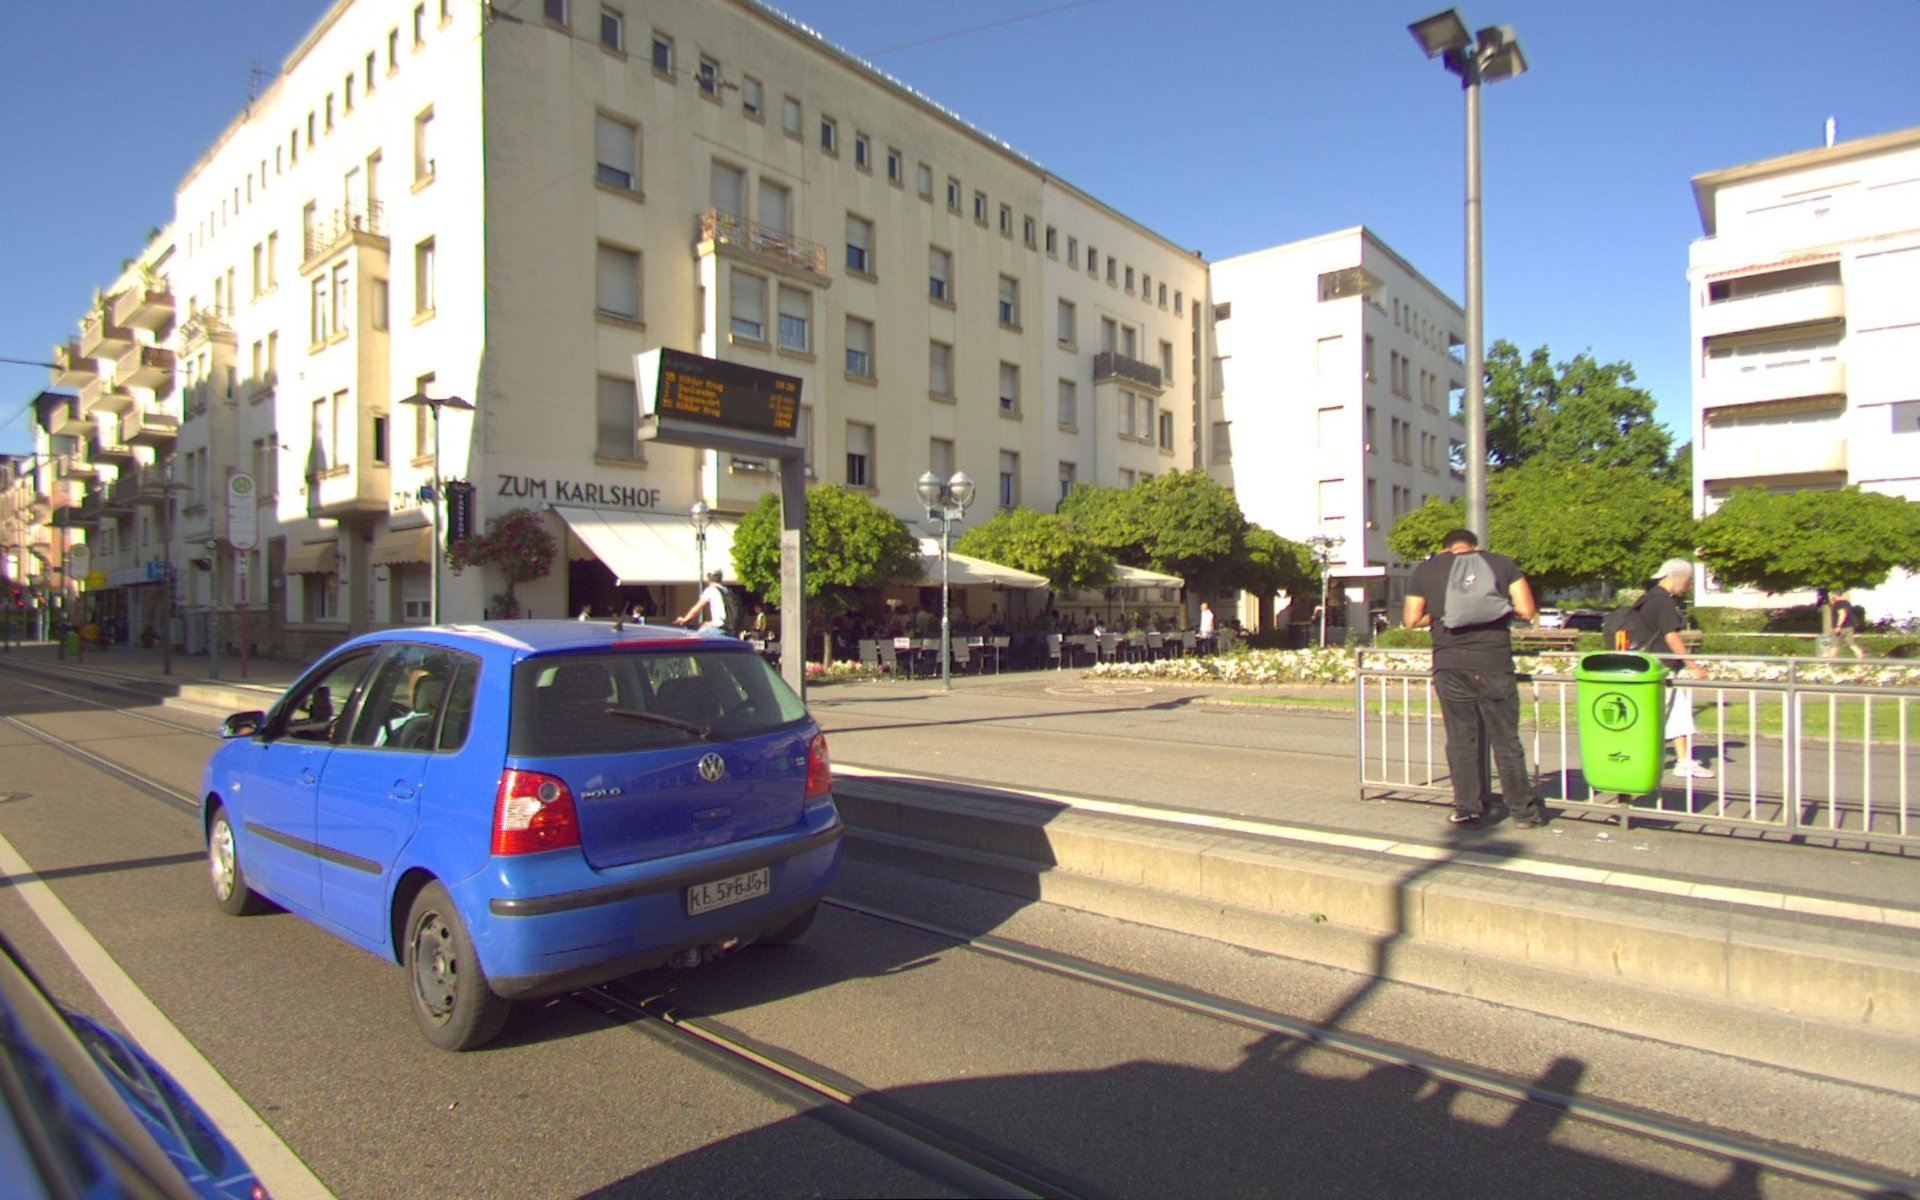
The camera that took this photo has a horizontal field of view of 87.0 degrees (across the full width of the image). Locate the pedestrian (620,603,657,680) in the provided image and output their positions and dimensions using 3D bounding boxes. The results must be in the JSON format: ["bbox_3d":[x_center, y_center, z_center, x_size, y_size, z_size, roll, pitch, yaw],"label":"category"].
[{"bbox_3d":[-7.148,0.925,22.507,0.663,1.657,0.678,-2,-4,-7],"label":"pedestrian"}]

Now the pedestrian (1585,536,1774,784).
[{"bbox_3d":[5.331,0.431,7.592,0.969,1.693,0.987,-1,-2,27],"label":"pedestrian"}]

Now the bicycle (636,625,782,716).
[{"bbox_3d":[-3.371,0.905,13.505,2.030,1.134,0.706,-1,-1,33],"label":"bicycle"}]

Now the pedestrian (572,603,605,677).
[{"bbox_3d":[-8.490,0.922,23.120,0.662,1.657,0.753,0,-4,-22],"label":"pedestrian"}]

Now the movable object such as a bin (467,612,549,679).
[{"bbox_3d":[-9.990,0.980,22.374,1.127,1.410,1.302,-1,-1,40],"label":"movable object such as a bin"}]

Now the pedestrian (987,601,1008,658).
[{"bbox_3d":[1.230,0.963,32.813,0.641,1.837,0.576,-1,-1,5],"label":"pedestrian"}]

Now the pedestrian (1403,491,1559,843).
[{"bbox_3d":[2.772,0.339,5.392,0.607,1.731,0.542,-1,-3,43],"label":"pedestrian"}]

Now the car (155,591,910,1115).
[{"bbox_3d":[-2.275,0.758,4.822,3.996,1.499,1.650,-1,-1,39],"label":"car"}]

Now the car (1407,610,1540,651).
[{"bbox_3d":[17.610,1.037,34.799,3.713,1.310,1.973,-1,-1,41],"label":"car"}]

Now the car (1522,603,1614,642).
[{"bbox_3d":[24.203,0.879,40.310,2.932,1.497,1.399,-1,-1,41],"label":"car"}]

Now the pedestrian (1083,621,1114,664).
[{"bbox_3d":[4.195,1.294,30.637,0.672,1.280,0.636,-5,-5,36],"label":"pedestrian"}]

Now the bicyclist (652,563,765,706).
[{"bbox_3d":[-3.340,0.449,13.475,1.092,1.807,0.996,-1,-1,33],"label":"bicyclist"}]

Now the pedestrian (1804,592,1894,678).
[{"bbox_3d":[19.270,0.736,21.954,1.063,1.801,1.180,0,-1,-32],"label":"pedestrian"}]

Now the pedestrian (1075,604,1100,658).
[{"bbox_3d":[4.205,1.027,33.307,0.677,1.750,0.671,-3,-4,14],"label":"pedestrian"}]

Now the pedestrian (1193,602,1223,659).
[{"bbox_3d":[7.818,0.973,31.934,0.710,1.750,0.673,-2,-4,1],"label":"pedestrian"}]

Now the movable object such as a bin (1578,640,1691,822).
[{"bbox_3d":[3.432,0.641,5.155,0.416,0.866,0.332,-2,-1,44],"label":"movable object such as a bin"}]

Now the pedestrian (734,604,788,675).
[{"bbox_3d":[-4.754,0.933,24.191,0.755,1.657,1.054,-1,-1,36],"label":"pedestrian"}]
